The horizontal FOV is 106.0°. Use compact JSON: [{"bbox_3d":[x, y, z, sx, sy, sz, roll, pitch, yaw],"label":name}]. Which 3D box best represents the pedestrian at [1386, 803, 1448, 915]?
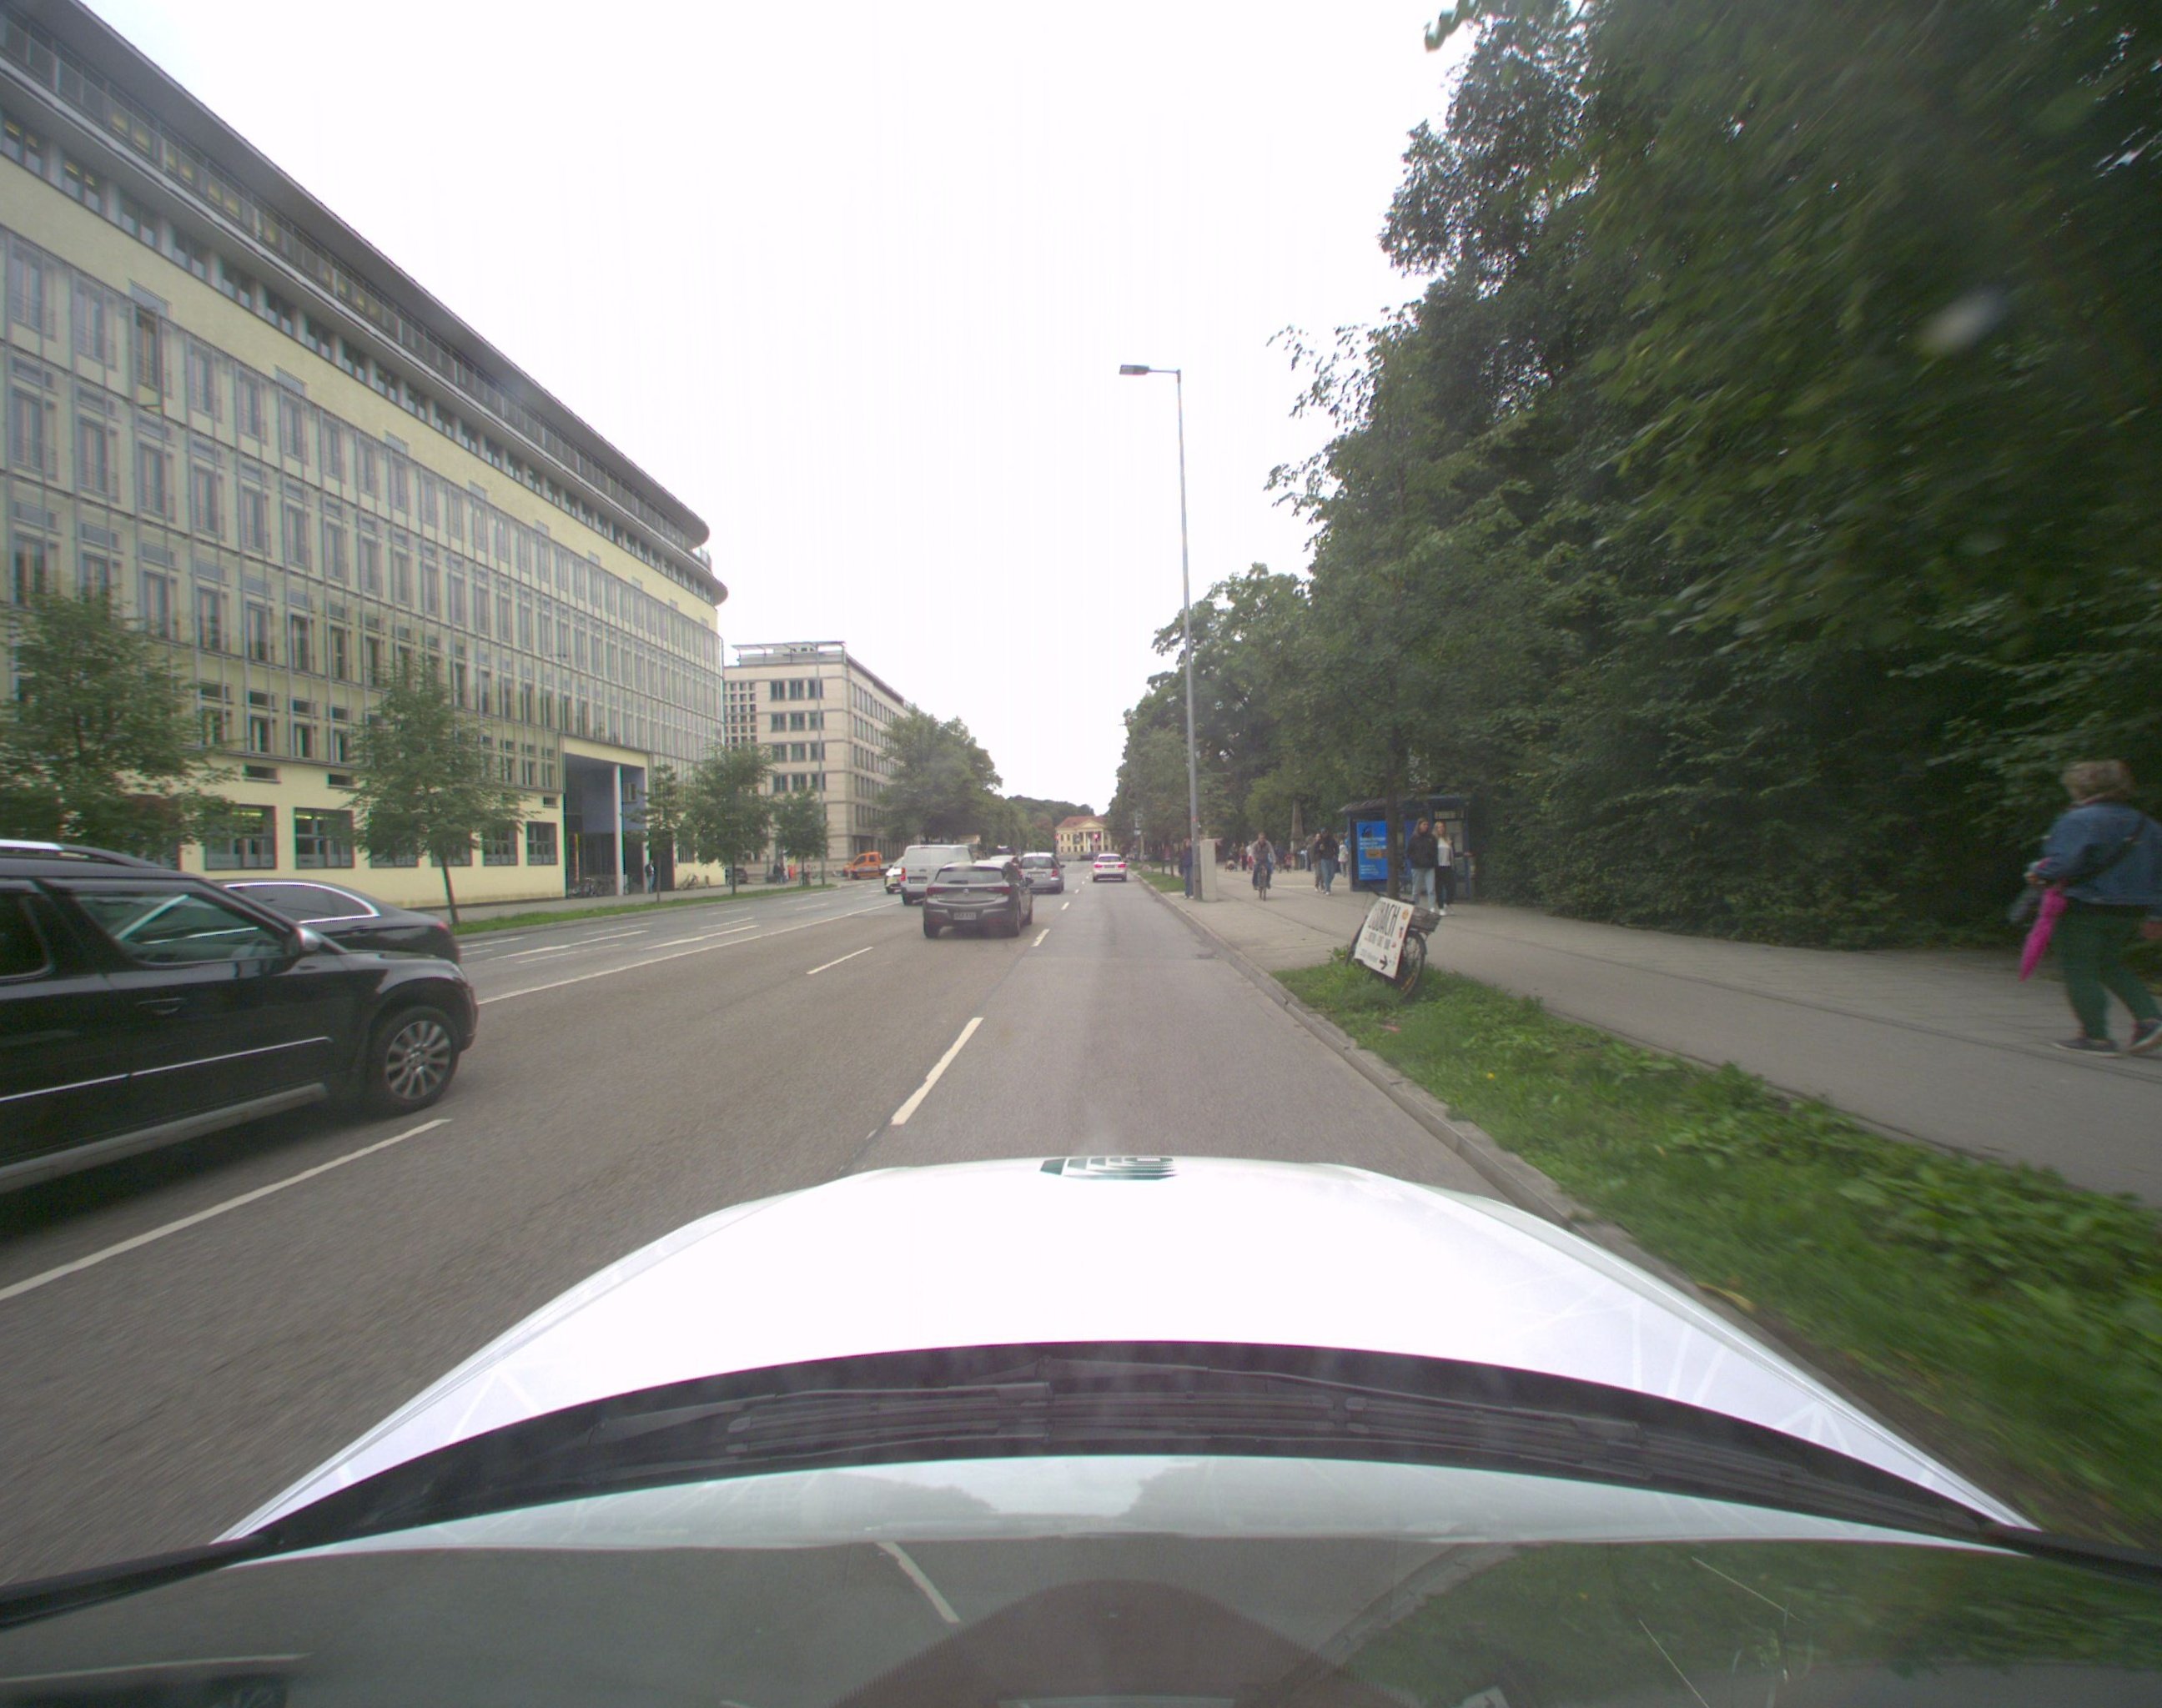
[{"bbox_3d":[5.891,0.087,14.319,0.705,1.915,0.957,0,-1,2],"label":"pedestrian"}]

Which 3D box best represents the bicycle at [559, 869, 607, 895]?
[{"bbox_3d":[-25.021,1.411,40.964,2.004,1.318,0.574,0,-1,-4],"label":"bicycle"}]

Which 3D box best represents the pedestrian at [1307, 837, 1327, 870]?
[{"bbox_3d":[12.095,-0.021,41.734,0.808,1.691,0.729,-2,-1,4],"label":"pedestrian"}]

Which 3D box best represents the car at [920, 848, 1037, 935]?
[{"bbox_3d":[-1.942,0.687,16.572,1.703,1.552,4.003,0,0,3],"label":"car"}]

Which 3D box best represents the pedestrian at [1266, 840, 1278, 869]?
[{"bbox_3d":[10.133,0.042,43.237,0.546,1.527,0.649,0,-1,7],"label":"pedestrian"}]

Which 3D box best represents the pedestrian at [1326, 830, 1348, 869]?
[{"bbox_3d":[11.910,-0.210,37.931,0.808,1.790,0.729,0,-1,4],"label":"pedestrian"}]

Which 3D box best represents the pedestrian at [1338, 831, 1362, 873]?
[{"bbox_3d":[11.537,-0.085,34.906,0.808,1.768,0.729,0,-1,4],"label":"pedestrian"}]

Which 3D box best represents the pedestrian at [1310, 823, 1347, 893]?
[{"bbox_3d":[6.565,0.106,21.630,0.705,1.808,0.950,0,-1,2],"label":"pedestrian"}]

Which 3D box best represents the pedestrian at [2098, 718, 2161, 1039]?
[{"bbox_3d":[6.545,0.140,4.556,0.748,1.839,0.757,0,-1,3],"label":"pedestrian"}]

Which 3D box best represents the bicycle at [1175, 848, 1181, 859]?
[{"bbox_3d":[9.376,-0.056,78.969,0.383,1.021,2.080,0,-1,2],"label":"bicycle"}]

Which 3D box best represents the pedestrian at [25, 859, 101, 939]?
[{"bbox_3d":[-22.882,0.991,18.315,0.613,1.777,0.836,0,-1,2],"label":"pedestrian"}]

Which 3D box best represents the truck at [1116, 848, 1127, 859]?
[{"bbox_3d":[12.001,-0.152,242.536,3.312,3.367,8.666,0,0,2],"label":"truck"}]

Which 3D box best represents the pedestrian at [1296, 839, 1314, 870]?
[{"bbox_3d":[12.445,0.033,45.260,0.808,1.691,0.729,0,-1,4],"label":"pedestrian"}]

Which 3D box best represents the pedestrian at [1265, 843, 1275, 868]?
[{"bbox_3d":[10.100,0.089,43.469,0.455,1.326,0.649,0,-1,7],"label":"pedestrian"}]

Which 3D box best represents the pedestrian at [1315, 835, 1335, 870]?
[{"bbox_3d":[12.273,-0.059,40.928,0.808,1.739,0.729,0,-1,4],"label":"pedestrian"}]

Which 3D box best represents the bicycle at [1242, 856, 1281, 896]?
[{"bbox_3d":[4.765,0.561,21.603,0.672,1.030,2.013,0,-1,2],"label":"bicycle"}]

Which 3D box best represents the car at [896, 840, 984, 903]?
[{"bbox_3d":[-4.535,0.566,26.924,1.891,1.847,4.957,-1,-1,1],"label":"car"}]

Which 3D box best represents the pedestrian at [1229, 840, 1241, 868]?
[{"bbox_3d":[9.508,-0.007,50.288,0.722,1.691,0.649,0,-1,6],"label":"pedestrian"}]

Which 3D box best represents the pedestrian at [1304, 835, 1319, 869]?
[{"bbox_3d":[11.512,-0.080,40.639,0.589,1.691,0.729,0,-1,4],"label":"pedestrian"}]

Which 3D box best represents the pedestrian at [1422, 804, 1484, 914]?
[{"bbox_3d":[6.671,0.090,14.651,0.705,1.915,0.957,0,-1,2],"label":"pedestrian"}]

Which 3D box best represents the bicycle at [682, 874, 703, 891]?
[{"bbox_3d":[-23.247,1.707,48.748,0.571,1.013,1.592,0,-1,-2],"label":"bicycle"}]

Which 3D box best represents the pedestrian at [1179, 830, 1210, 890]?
[{"bbox_3d":[3.606,0.188,25.831,0.795,1.881,0.547,-1,-1,38],"label":"pedestrian"}]

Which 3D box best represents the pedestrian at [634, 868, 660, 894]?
[{"bbox_3d":[-23.888,1.491,44.837,0.834,1.364,1.087,-2,0,1],"label":"pedestrian"}]

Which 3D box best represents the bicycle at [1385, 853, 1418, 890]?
[{"bbox_3d":[9.264,0.492,23.587,0.391,1.060,1.577,0,0,2],"label":"bicycle"}]

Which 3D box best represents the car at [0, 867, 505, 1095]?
[{"bbox_3d":[-7.768,0.892,7.199,1.760,1.423,4.749,-3,0,2],"label":"car"}]

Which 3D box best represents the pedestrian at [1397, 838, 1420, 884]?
[{"bbox_3d":[11.723,0.263,29.160,0.633,1.627,0.533,0,-1,4],"label":"pedestrian"}]

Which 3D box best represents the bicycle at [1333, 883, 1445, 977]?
[{"bbox_3d":[3.053,0.712,8.255,0.491,0.794,1.890,0,0,2],"label":"bicycle"}]

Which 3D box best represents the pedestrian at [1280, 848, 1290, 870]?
[{"bbox_3d":[10.713,0.274,42.762,0.455,1.153,0.649,0,-1,7],"label":"pedestrian"}]

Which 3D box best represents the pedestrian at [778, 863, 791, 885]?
[{"bbox_3d":[-23.421,1.562,64.368,0.679,1.775,0.785,0,-1,6],"label":"pedestrian"}]

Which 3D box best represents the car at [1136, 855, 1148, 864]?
[{"bbox_3d":[9.882,0.915,132.343,1.717,1.465,4.778,-2,-1,3],"label":"car"}]

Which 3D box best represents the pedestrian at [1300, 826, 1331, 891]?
[{"bbox_3d":[6.582,0.116,22.915,0.705,1.808,0.639,0,-1,1],"label":"pedestrian"}]

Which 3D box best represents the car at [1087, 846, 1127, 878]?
[{"bbox_3d":[1.319,0.413,43.258,1.775,1.644,3.995,0,0,-3],"label":"car"}]

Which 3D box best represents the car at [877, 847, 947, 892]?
[{"bbox_3d":[-7.295,0.625,35.637,1.850,1.748,4.632,-3,0,2],"label":"car"}]

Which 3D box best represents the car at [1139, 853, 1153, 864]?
[{"bbox_3d":[9.555,0.664,120.534,1.820,1.550,4.754,-2,-1,3],"label":"car"}]

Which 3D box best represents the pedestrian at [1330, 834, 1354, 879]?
[{"bbox_3d":[10.924,0.105,34.053,0.808,1.829,0.729,0,-1,4],"label":"pedestrian"}]

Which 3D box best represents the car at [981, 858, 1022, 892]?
[{"bbox_3d":[-4.095,1.046,42.351,1.774,1.654,3.999,0,0,0],"label":"car"}]

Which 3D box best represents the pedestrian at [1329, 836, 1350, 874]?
[{"bbox_3d":[11.801,0.047,37.205,0.808,1.691,0.674,0,-1,4],"label":"pedestrian"}]

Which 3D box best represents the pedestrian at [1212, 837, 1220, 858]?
[{"bbox_3d":[12.003,-0.547,72.260,0.585,1.822,0.850,0,-1,3],"label":"pedestrian"}]

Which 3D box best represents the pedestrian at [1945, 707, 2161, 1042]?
[{"bbox_3d":[5.777,0.115,4.800,0.668,1.839,0.641,0,-1,3],"label":"pedestrian"}]

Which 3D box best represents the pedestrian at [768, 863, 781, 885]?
[{"bbox_3d":[-24.197,1.562,64.277,0.679,1.775,0.675,0,-1,6],"label":"pedestrian"}]

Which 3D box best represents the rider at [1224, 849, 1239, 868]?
[{"bbox_3d":[9.081,0.271,49.151,0.761,1.112,1.246,0,-1,6],"label":"rider"}]

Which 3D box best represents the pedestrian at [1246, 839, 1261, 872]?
[{"bbox_3d":[9.021,0.076,42.643,0.722,1.691,0.649,0,-1,7],"label":"pedestrian"}]

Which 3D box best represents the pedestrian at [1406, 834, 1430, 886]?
[{"bbox_3d":[11.717,0.214,28.332,0.633,1.768,0.533,0,-1,4],"label":"pedestrian"}]

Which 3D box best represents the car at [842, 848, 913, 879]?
[{"bbox_3d":[-17.795,0.850,71.480,5.666,2.536,2.154,-1,-1,-3],"label":"car"}]

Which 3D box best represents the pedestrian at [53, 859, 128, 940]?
[{"bbox_3d":[-22.227,0.991,18.292,0.613,1.777,0.836,0,-1,2],"label":"pedestrian"}]

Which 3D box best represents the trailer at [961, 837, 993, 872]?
[{"bbox_3d":[-11.977,0.111,94.845,2.944,3.740,11.753,0,0,-4],"label":"trailer"}]

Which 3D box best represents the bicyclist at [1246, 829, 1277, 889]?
[{"bbox_3d":[4.759,0.142,21.488,0.705,1.562,0.639,0,-1,1],"label":"bicyclist"}]

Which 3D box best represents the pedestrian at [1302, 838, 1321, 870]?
[{"bbox_3d":[12.313,0.006,43.487,0.808,1.691,0.729,-1,-1,4],"label":"pedestrian"}]

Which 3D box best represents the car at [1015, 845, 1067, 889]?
[{"bbox_3d":[-1.530,0.505,32.282,1.773,1.654,4.001,0,0,1],"label":"car"}]

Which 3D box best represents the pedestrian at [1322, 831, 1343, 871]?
[{"bbox_3d":[12.176,-0.158,39.450,0.808,1.917,0.729,0,-1,4],"label":"pedestrian"}]

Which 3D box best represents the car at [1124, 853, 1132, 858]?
[{"bbox_3d":[11.834,0.415,205.159,1.717,1.324,4.030,-2,-1,3],"label":"car"}]

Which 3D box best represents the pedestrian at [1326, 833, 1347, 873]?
[{"bbox_3d":[12.112,-0.035,38.676,0.808,1.874,0.729,0,-1,4],"label":"pedestrian"}]

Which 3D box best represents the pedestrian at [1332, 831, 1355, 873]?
[{"bbox_3d":[11.751,-0.083,36.490,0.808,1.852,0.729,0,-1,4],"label":"pedestrian"}]

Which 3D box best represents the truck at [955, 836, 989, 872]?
[{"bbox_3d":[-11.580,0.036,87.318,2.909,3.775,7.659,0,-1,-2],"label":"truck"}]

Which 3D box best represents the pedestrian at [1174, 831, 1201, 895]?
[{"bbox_3d":[3.067,0.257,23.532,0.705,1.808,0.639,0,-1,1],"label":"pedestrian"}]

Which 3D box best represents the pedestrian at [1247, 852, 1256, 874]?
[{"bbox_3d":[13.071,0.665,62.494,0.626,1.667,0.575,0,-1,17],"label":"pedestrian"}]

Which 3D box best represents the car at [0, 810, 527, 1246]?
[{"bbox_3d":[-4.910,0.681,3.766,1.716,1.636,4.206,-1,-1,1],"label":"car"}]

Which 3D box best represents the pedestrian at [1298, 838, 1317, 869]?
[{"bbox_3d":[12.298,-0.023,44.281,0.808,1.691,0.729,-2,-1,4],"label":"pedestrian"}]
